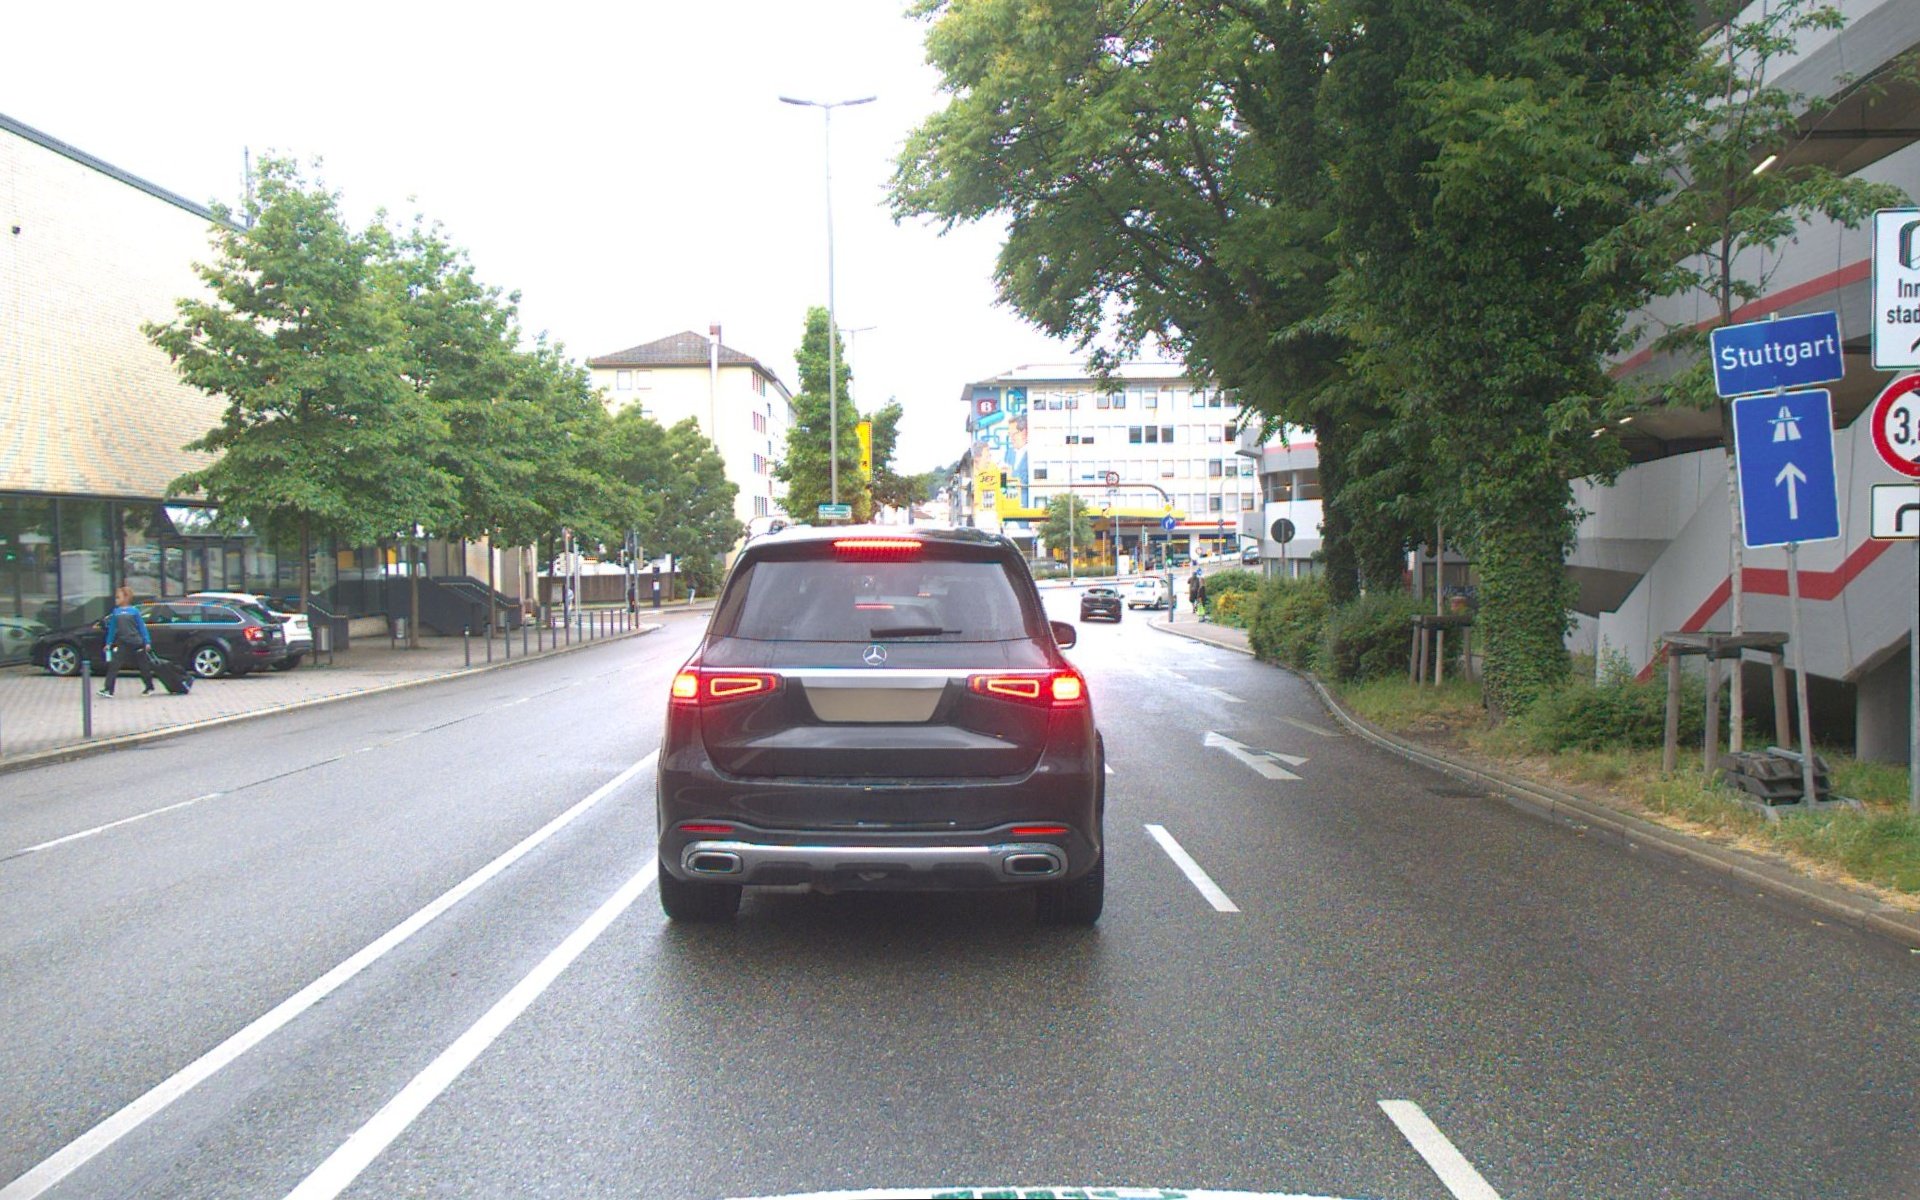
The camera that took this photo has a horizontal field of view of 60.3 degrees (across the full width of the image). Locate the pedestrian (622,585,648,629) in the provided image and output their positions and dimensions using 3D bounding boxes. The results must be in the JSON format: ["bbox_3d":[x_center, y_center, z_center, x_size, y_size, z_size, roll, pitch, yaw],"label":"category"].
[{"bbox_3d":[-13.212,0.281,67.229,0.931,1.734,0.709,1,-1,-18],"label":"pedestrian"}]

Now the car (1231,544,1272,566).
[{"bbox_3d":[24.454,-3.790,138.734,1.958,1.735,3.990,-1,1,33],"label":"car"}]

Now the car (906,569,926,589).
[{"bbox_3d":[-4.566,-2.186,172.914,1.953,2.049,4.000,1,0,0],"label":"car"}]

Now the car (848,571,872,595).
[{"bbox_3d":[-7.871,-1.327,129.913,1.868,1.733,3.997,1,0,-4],"label":"car"}]

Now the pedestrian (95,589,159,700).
[{"bbox_3d":[-13.256,0.700,26.329,0.621,1.744,0.705,1,-1,2],"label":"pedestrian"}]

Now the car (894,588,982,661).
[{"bbox_3d":[-0.496,0.535,37.694,1.869,1.527,3.999,1,0,-1],"label":"car"}]

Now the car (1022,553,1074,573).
[{"bbox_3d":[6.841,-2.886,128.662,1.724,1.400,3.935,-3,1,-44],"label":"car"}]

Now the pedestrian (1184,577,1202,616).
[{"bbox_3d":[10.530,-0.147,74.638,0.703,1.720,0.455,1,-1,-7],"label":"pedestrian"}]

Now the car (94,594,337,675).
[{"bbox_3d":[-15.371,0.700,34.306,4.090,1.574,2.000,1,0,0],"label":"car"}]

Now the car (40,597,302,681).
[{"bbox_3d":[-15.170,0.740,32.006,4.097,1.521,1.997,1,0,-8],"label":"car"}]

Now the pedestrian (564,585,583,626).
[{"bbox_3d":[-16.534,0.237,70.783,0.630,1.695,1.017,1,0,-7],"label":"pedestrian"}]

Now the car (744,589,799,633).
[{"bbox_3d":[-6.926,0.374,61.091,1.706,1.496,3.880,-2,0,-3],"label":"car"}]

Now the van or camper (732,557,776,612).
[{"bbox_3d":[-10.522,-0.766,84.465,2.062,2.627,5.899,-2,0,-7],"label":"van or camper"}]

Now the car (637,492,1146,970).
[{"bbox_3d":[-0.293,0.522,8.447,1.953,1.832,3.999,1,0,-1],"label":"car"}]

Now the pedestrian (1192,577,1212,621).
[{"bbox_3d":[9.568,-0.046,65.447,0.634,1.740,0.470,0,-1,35],"label":"pedestrian"}]

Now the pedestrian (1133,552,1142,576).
[{"bbox_3d":[12.957,-2.644,120.514,0.560,1.727,0.631,1,-1,0],"label":"pedestrian"}]

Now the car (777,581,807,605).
[{"bbox_3d":[-10.858,-0.446,107.205,1.761,1.521,3.801,1,0,-3],"label":"car"}]

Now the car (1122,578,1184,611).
[{"bbox_3d":[9.622,-0.255,82.145,1.720,1.576,3.994,1,0,28],"label":"car"}]

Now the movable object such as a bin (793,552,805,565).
[{"bbox_3d":[-13.683,-3.554,140.832,0.891,1.056,0.844,1,0,0],"label":"movable object such as a bin"}]

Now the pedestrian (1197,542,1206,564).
[{"bbox_3d":[19.988,-3.898,137.005,0.515,1.757,0.689,0,1,26],"label":"pedestrian"}]

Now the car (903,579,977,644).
[{"bbox_3d":[-0.529,0.304,44.250,1.869,1.614,3.999,1,0,-1],"label":"car"}]

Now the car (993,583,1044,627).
[{"bbox_3d":[2.232,0.170,63.947,1.759,1.552,4.055,1,1,-1],"label":"car"}]

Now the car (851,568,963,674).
[{"bbox_3d":[-0.962,0.382,31.143,1.953,1.832,3.999,1,0,-1],"label":"car"}]

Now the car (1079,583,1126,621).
[{"bbox_3d":[5.988,0.096,69.969,1.905,1.512,4.002,1,0,4],"label":"car"}]
